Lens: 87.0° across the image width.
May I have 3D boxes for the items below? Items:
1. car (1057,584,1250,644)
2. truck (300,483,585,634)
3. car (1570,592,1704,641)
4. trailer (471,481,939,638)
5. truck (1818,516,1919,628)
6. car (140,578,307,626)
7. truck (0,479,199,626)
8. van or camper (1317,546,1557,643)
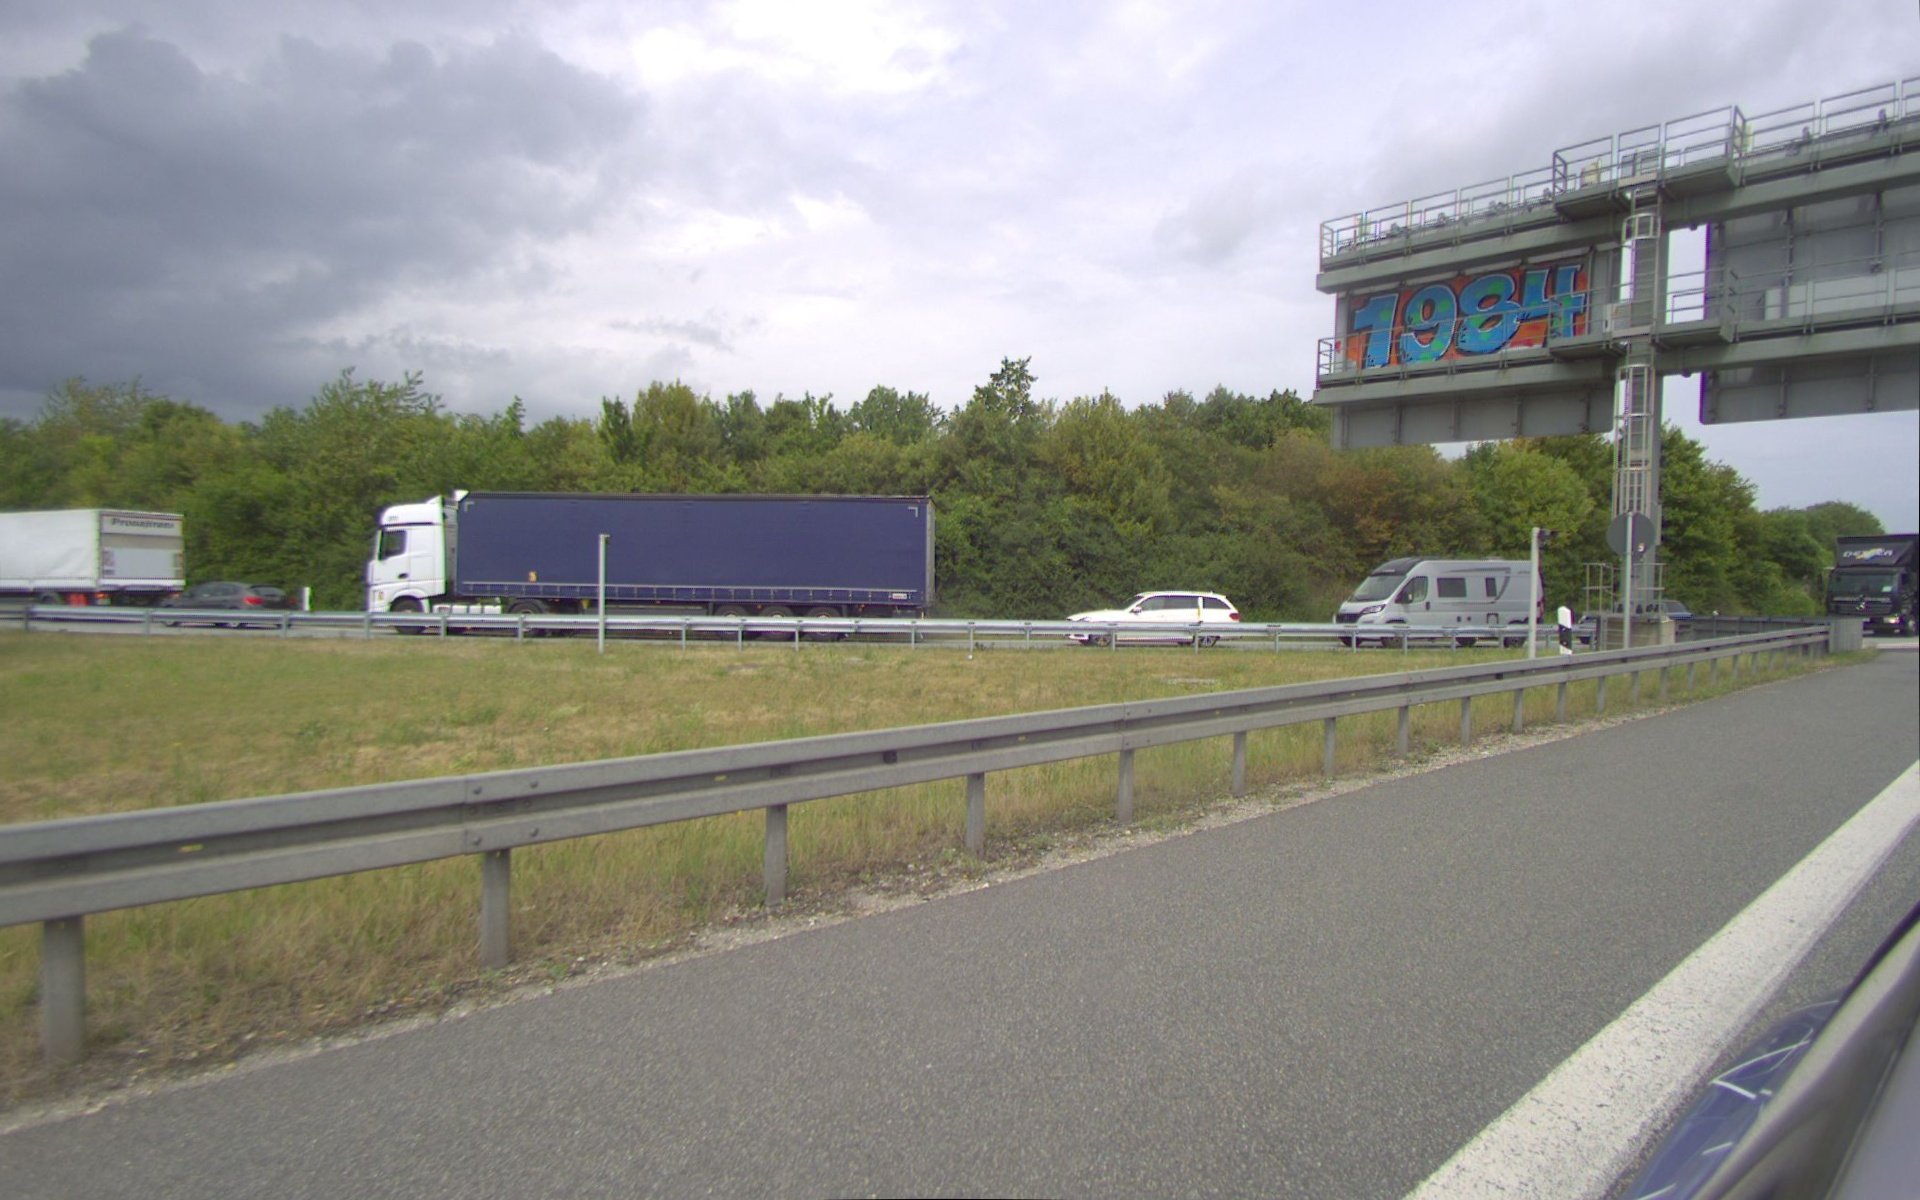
[{"bbox_3d":[5.187,0.349,27.562,4.691,1.520,2.216,0,1,-5],"label":"car"},{"bbox_3d":[-14.960,-1.178,29.681,6.664,4.147,3.369,0,0,2],"label":"truck"},{"bbox_3d":[21.092,0.471,31.561,3.589,1.437,1.738,-1,1,-22],"label":"car"},{"bbox_3d":[-7.068,-1.147,29.356,12.791,4.246,3.340,0,0,2],"label":"trailer"},{"bbox_3d":[37.787,-1.051,39.978,10.137,4.004,3.028,0,1,-32],"label":"truck"},{"bbox_3d":[-23.053,0.024,31.687,4.724,1.379,1.880,1,1,18],"label":"car"},{"bbox_3d":[-31.217,-1.533,35.423,8.884,4.674,3.260,0,0,22],"label":"truck"},{"bbox_3d":[13.542,-0.164,28.846,6.031,2.600,2.306,0,1,-14],"label":"van or camper"}]
